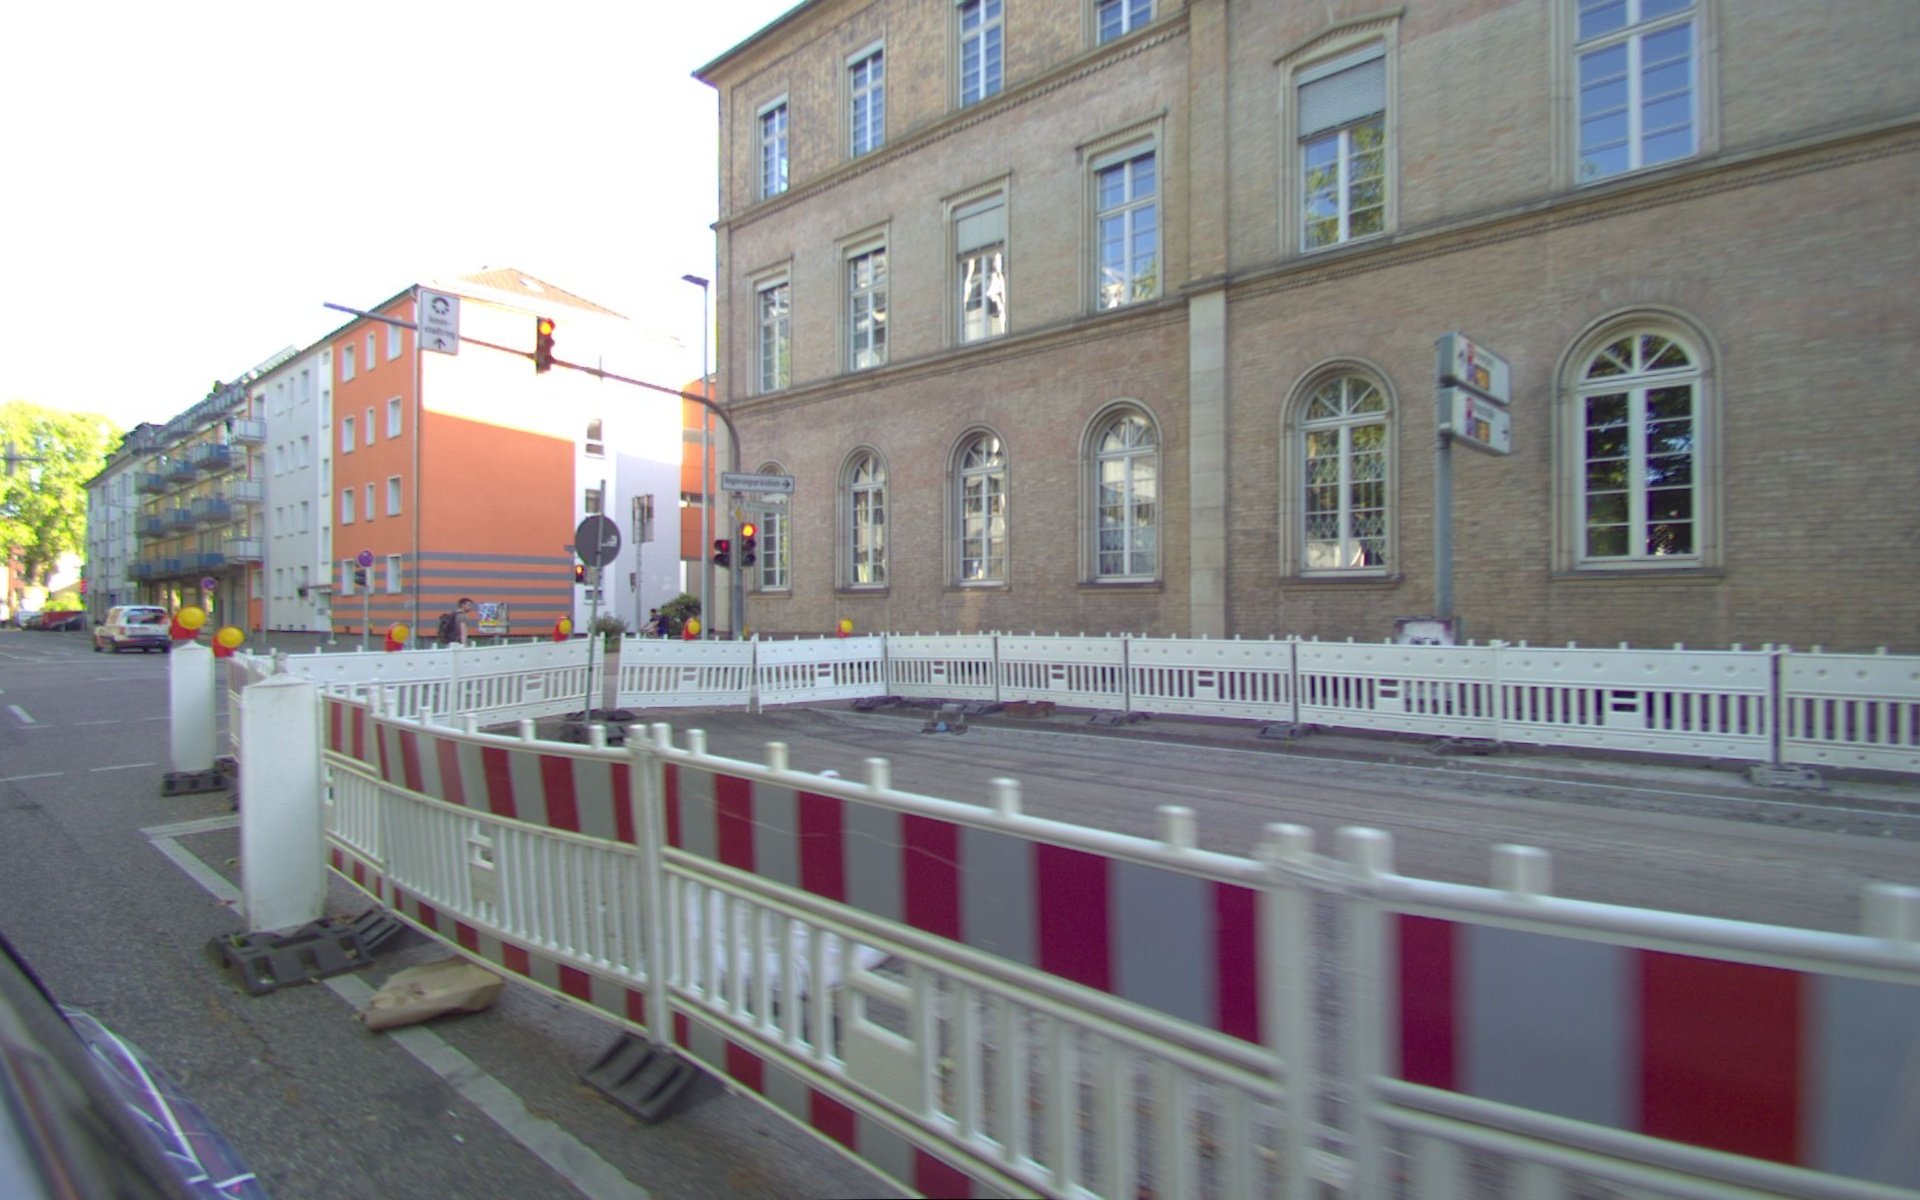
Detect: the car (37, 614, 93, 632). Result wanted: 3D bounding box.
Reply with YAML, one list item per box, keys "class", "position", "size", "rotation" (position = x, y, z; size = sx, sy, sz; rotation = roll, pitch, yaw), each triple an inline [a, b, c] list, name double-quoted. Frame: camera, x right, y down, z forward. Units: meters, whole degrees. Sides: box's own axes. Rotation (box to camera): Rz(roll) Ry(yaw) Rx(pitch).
- class: "car"
  position: [-86.589, 2.198, 97.963]
  size: [1.834, 1.712, 3.942]
  rotation: [-1, -2, 44]

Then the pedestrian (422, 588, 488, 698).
- class: "pedestrian"
  position: [-8.513, 0.709, 17.044]
  size: [0.870, 1.785, 0.749]
  rotation: [0, -1, -38]

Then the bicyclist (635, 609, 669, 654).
- class: "bicyclist"
  position: [-9.805, 1.023, 32.203]
  size: [0.824, 1.383, 0.794]
  rotation: [3, -5, -35]

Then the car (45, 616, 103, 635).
- class: "car"
  position: [-82.679, 2.399, 94.471]
  size: [1.834, 1.712, 3.942]
  rotation: [-1, -2, 44]

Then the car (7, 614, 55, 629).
- class: "car"
  position: [-105.442, 2.410, 114.909]
  size: [1.834, 1.712, 3.942]
  rotation: [-1, -2, 44]

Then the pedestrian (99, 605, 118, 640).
- class: "pedestrian"
  position: [-59.560, 1.596, 70.783]
  size: [1.088, 2.414, 0.902]
  rotation: [-1, -2, 42]

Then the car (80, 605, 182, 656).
- class: "car"
  position: [-32.479, 1.204, 39.614]
  size: [5.117, 1.830, 1.975]
  rotation: [-2, 0, 38]

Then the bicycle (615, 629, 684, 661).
- class: "bicycle"
  position: [-9.852, 1.435, 32.158]
  size: [1.959, 1.007, 0.792]
  rotation: [2, -4, -35]
